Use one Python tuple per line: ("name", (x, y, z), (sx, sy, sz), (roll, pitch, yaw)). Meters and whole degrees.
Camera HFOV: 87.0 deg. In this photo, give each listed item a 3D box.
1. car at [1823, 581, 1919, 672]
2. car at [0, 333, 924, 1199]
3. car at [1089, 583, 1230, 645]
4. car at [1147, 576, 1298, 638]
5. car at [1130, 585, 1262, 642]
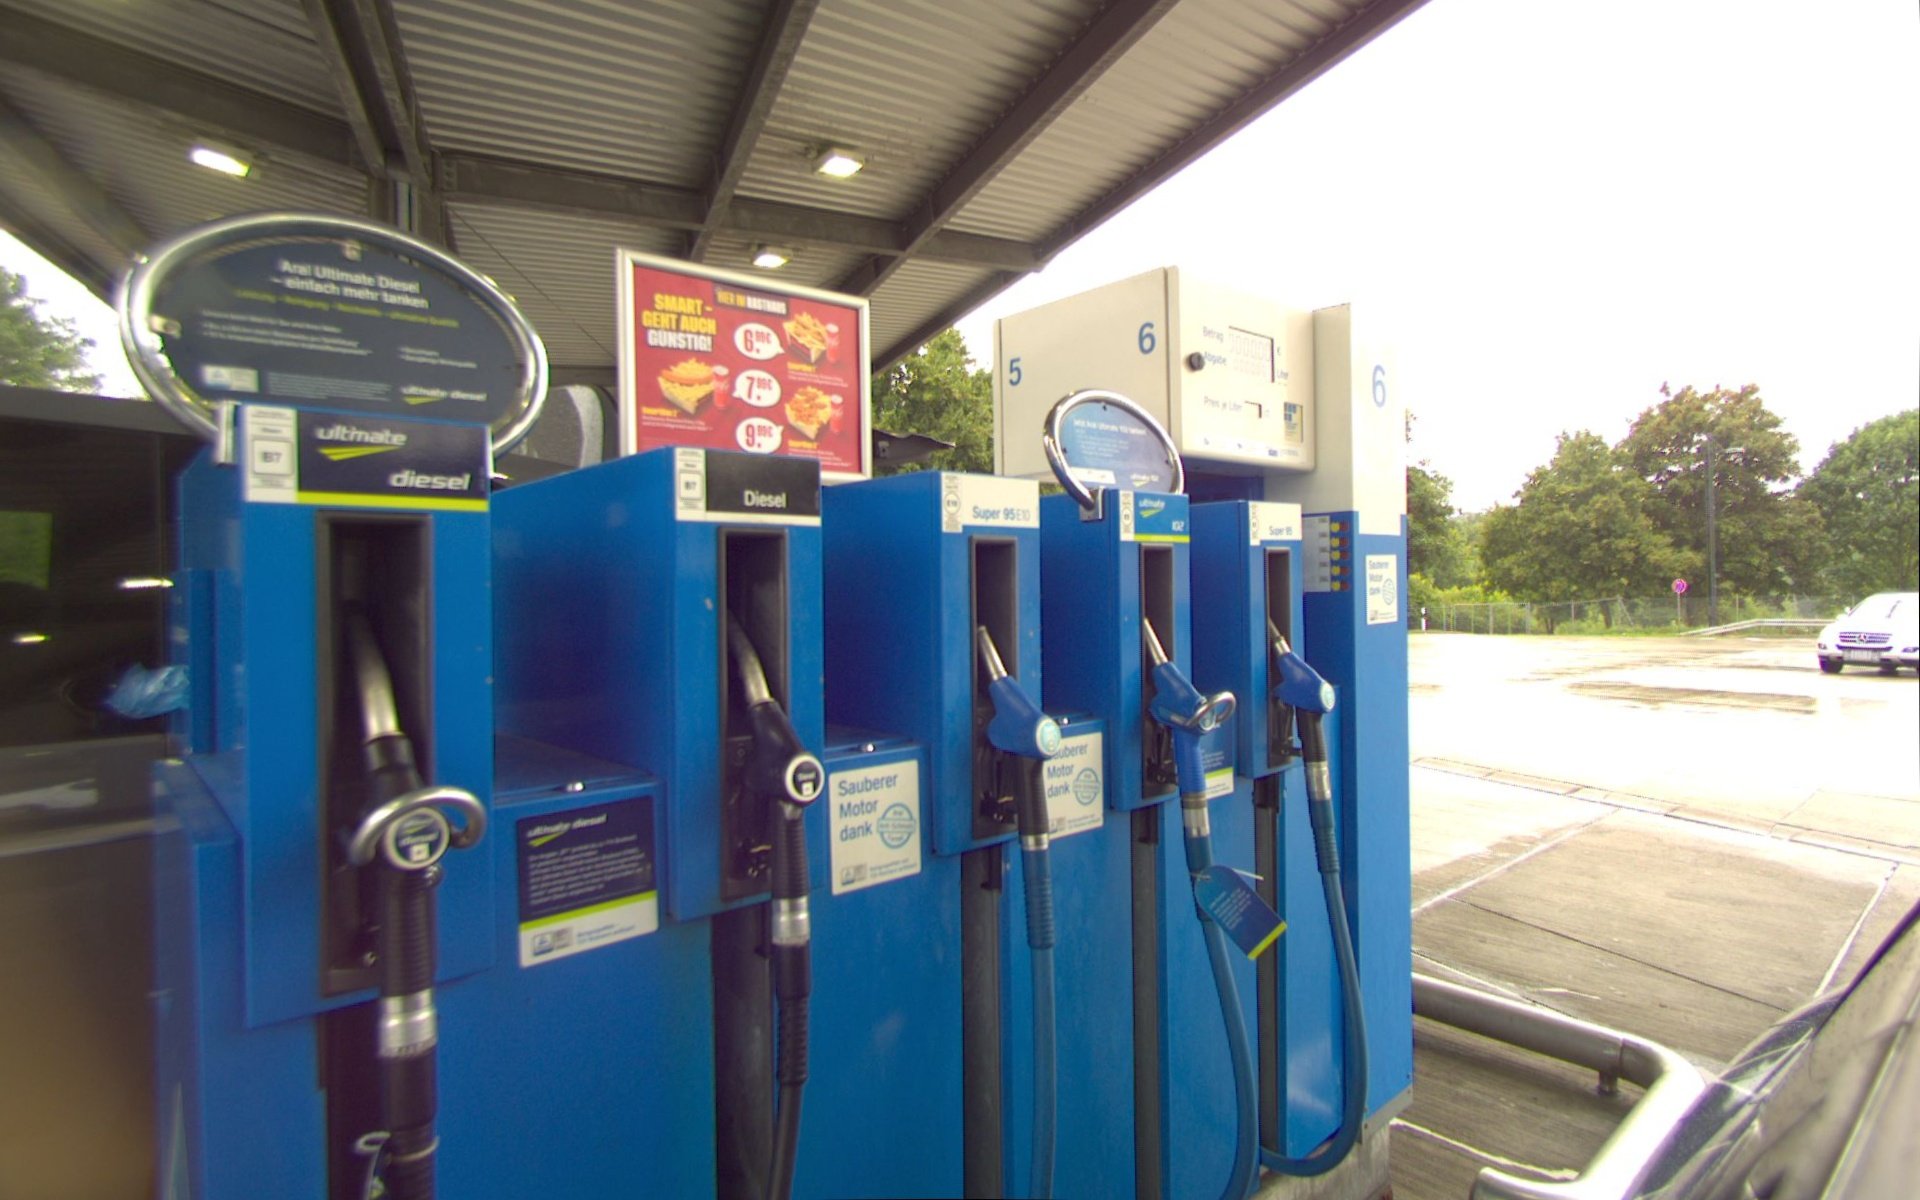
("car", (20.728, 0.545, 21.729), (4.447, 1.821, 1.870), (1, 0, -28))
("car", (-2.606, 0.502, 1.812), (5.050, 1.821, 1.864), (-1, 0, -41))
("car", (5.865, 0.377, 29.725), (3.941, 1.680, 1.593), (1, 0, 14))
("car", (8.881, 0.210, 34.498), (4.817, 1.974, 2.306), (1, 1, 14))
("car", (7.419, 0.389, 31.916), (3.941, 1.680, 1.593), (1, 0, 14))
